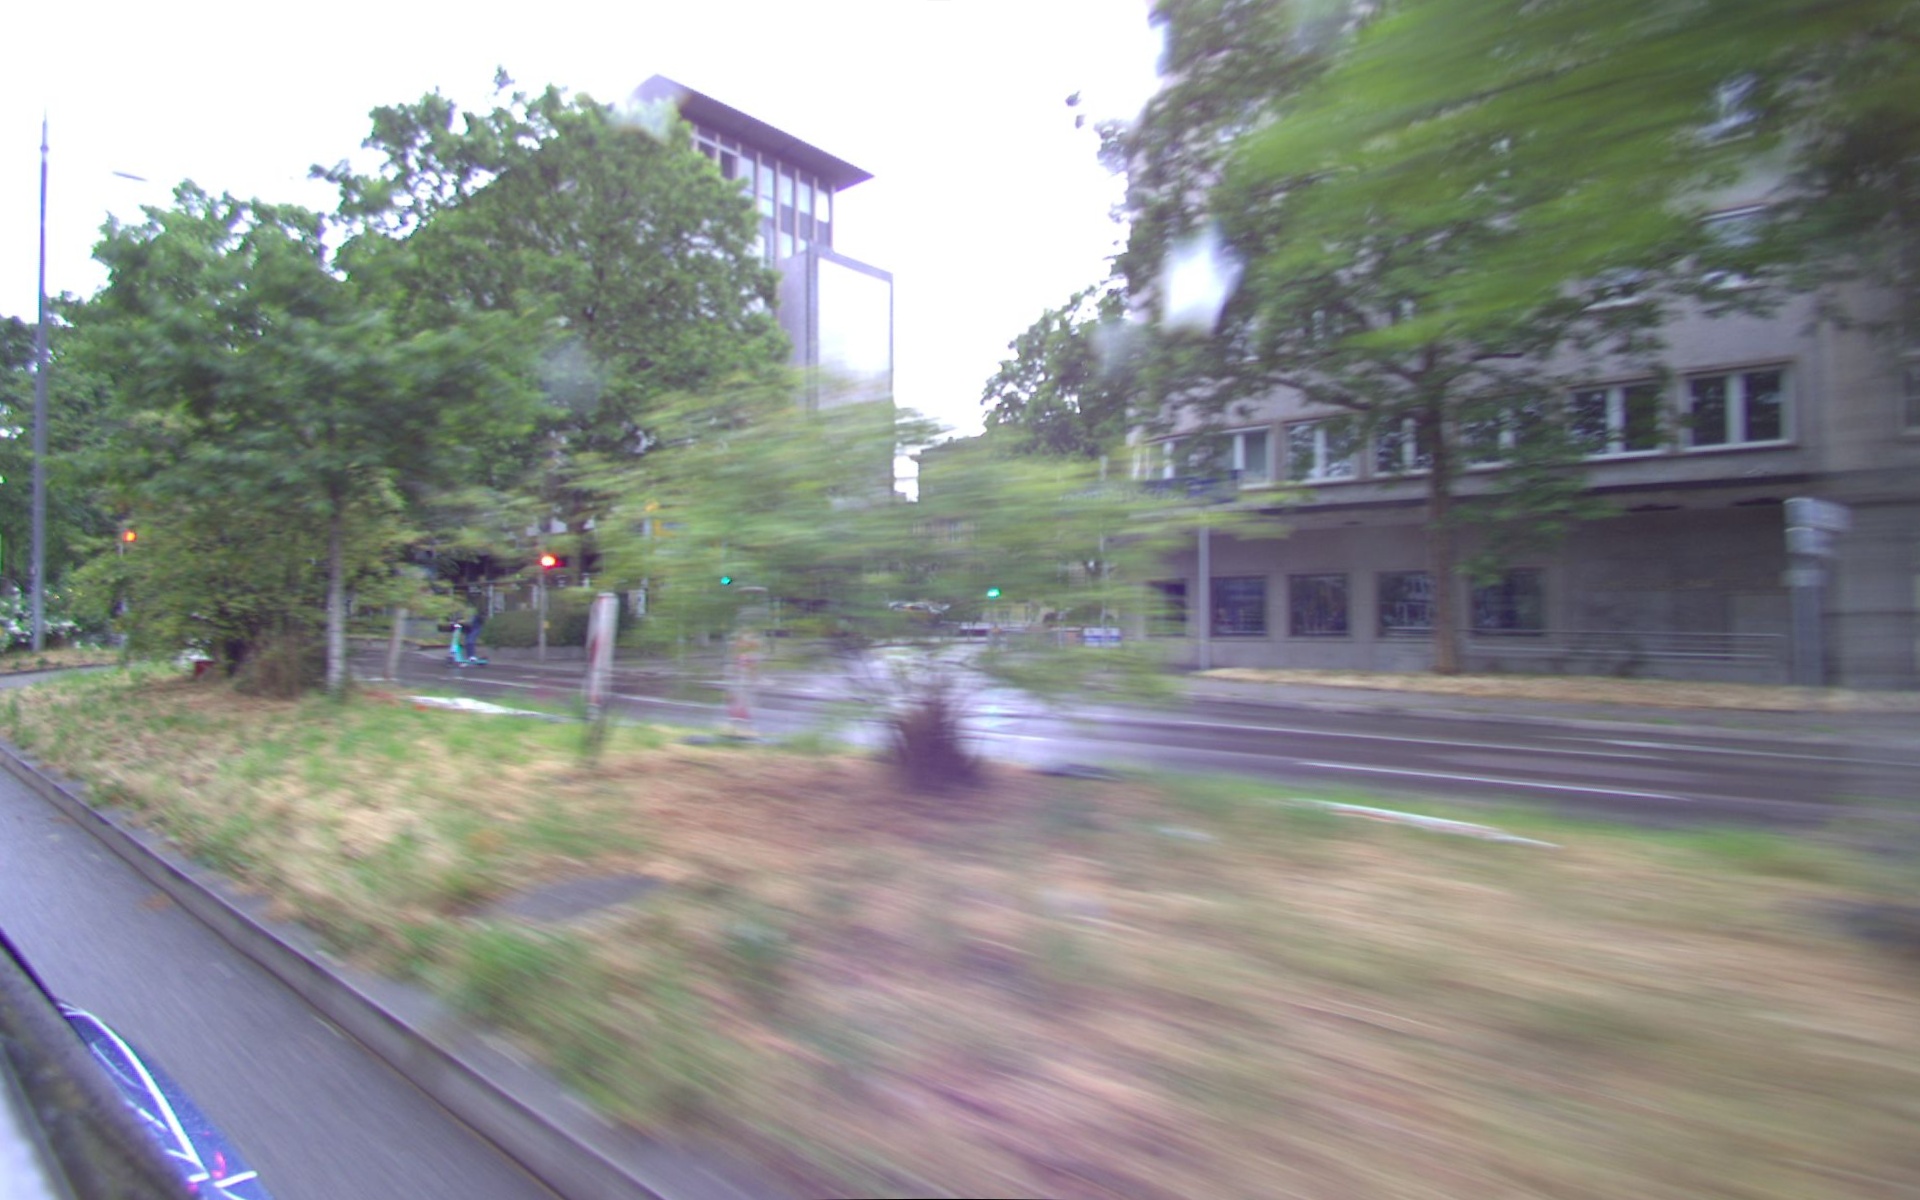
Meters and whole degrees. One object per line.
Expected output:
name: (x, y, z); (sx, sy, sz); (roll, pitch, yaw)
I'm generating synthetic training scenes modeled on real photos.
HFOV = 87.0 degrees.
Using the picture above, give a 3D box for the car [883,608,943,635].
car: (-3.471, 1.572, 74.705); (4.078, 1.852, 1.931); (0, -1, -41)

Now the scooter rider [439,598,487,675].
scooter rider: (-12.854, 0.920, 26.191); (0.756, 1.955, 0.891); (-1, -1, 39)

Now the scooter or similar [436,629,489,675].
scooter or similar: (-12.857, 1.334, 26.162); (0.434, 1.122, 1.170); (-1, -1, 38)

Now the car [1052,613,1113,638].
car: (8.443, 1.738, 69.595); (3.915, 1.564, 1.749); (-1, -1, -32)
